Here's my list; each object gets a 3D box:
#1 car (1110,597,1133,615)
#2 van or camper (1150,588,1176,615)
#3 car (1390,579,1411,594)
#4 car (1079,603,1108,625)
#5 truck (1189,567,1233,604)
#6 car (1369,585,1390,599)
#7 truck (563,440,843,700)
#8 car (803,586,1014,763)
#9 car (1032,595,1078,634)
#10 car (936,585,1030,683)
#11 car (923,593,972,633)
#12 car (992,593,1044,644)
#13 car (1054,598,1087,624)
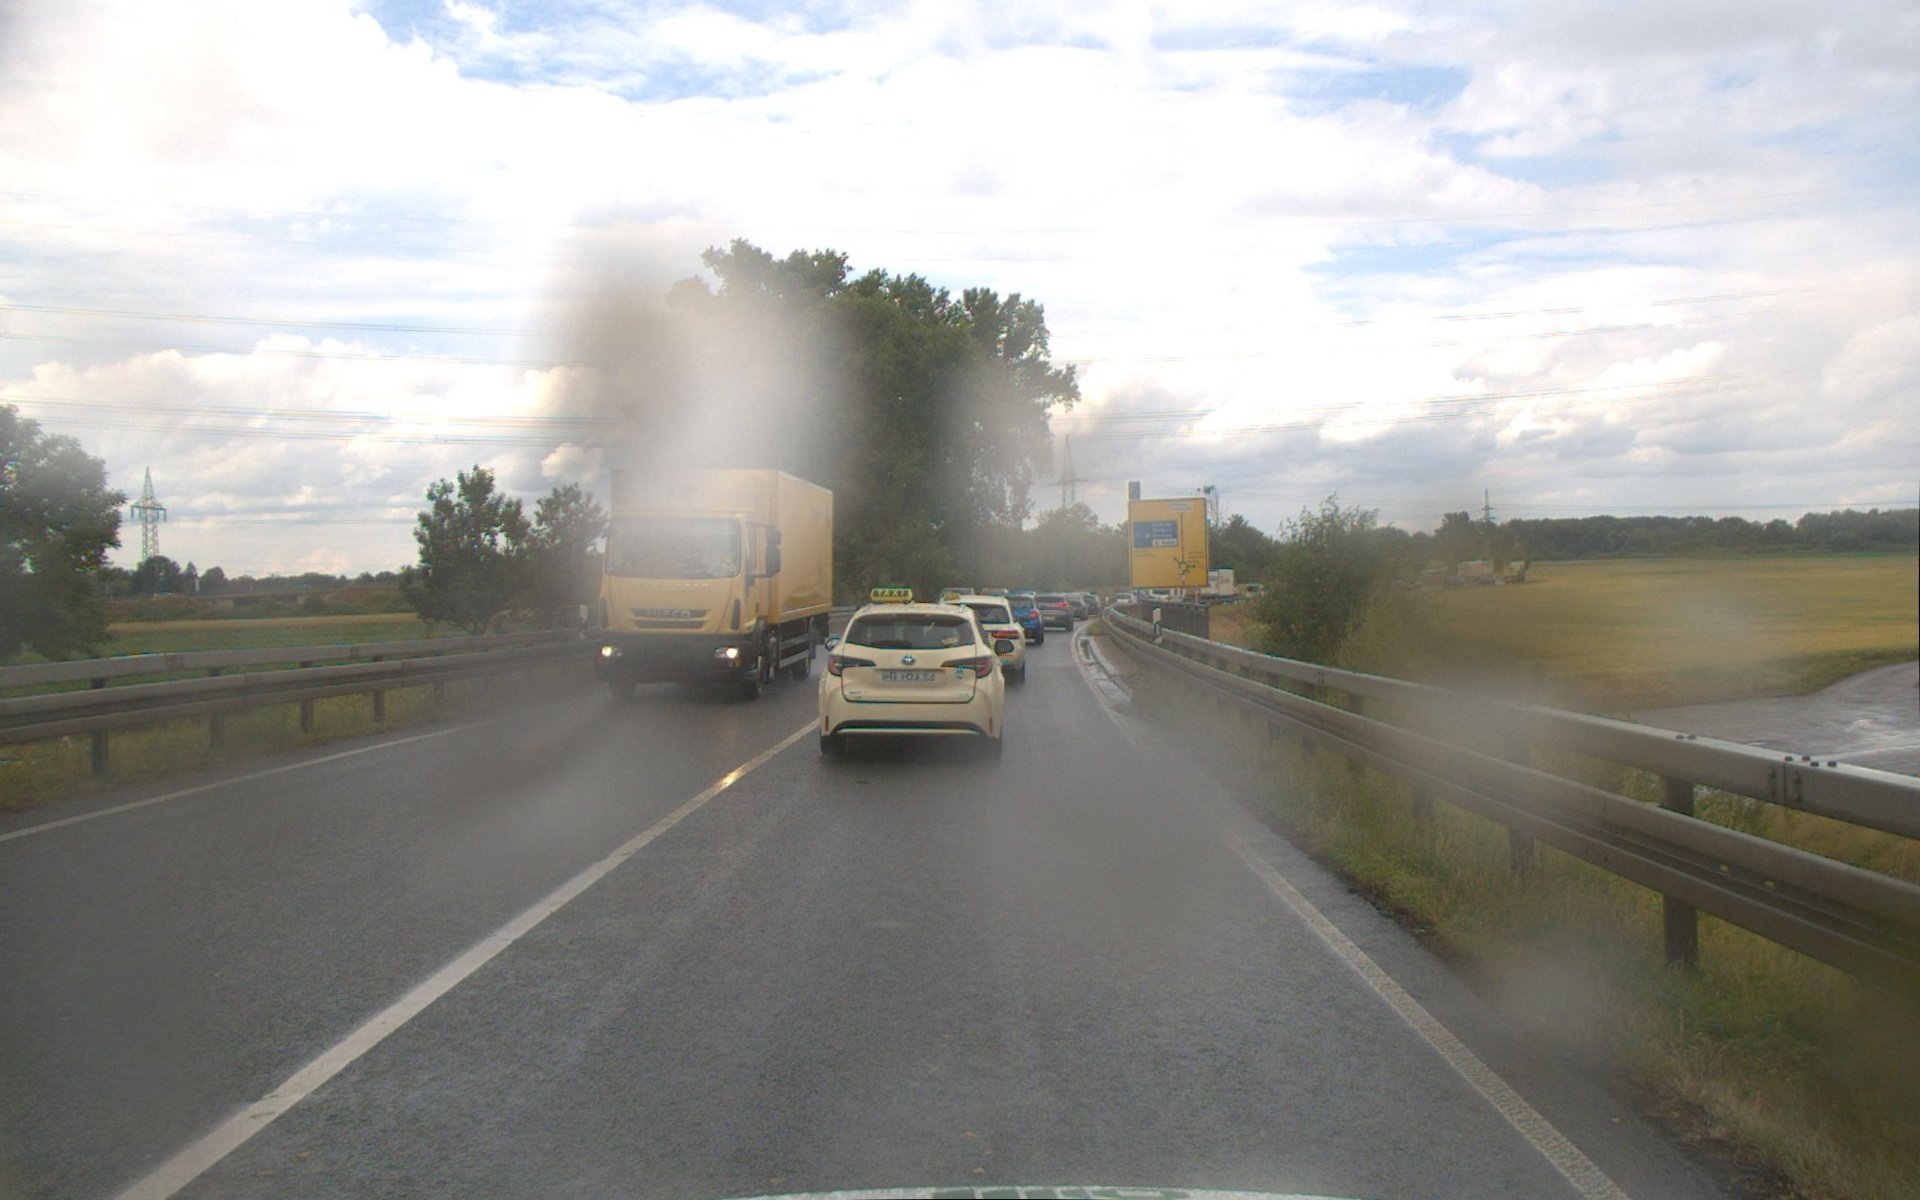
[{"bbox_3d":[12.129,0.451,124.157,1.451,1.332,3.480,0,0,10],"label":"car"},{"bbox_3d":[17.661,0.141,144.064,1.951,2.293,4.003,1,-1,11],"label":"van or camper"},{"bbox_3d":[63.552,-1.989,238.444,1.957,2.049,3.991,0,-1,31],"label":"car"},{"bbox_3d":[8.660,0.888,106.796,1.451,1.332,3.480,0,0,11],"label":"car"},{"bbox_3d":[25.740,-1.452,169.257,3.075,3.624,7.523,0,-1,20],"label":"truck"},{"bbox_3d":[58.844,-1.113,231.973,1.785,1.870,3.981,0,-1,30],"label":"car"},{"bbox_3d":[-3.828,-0.420,27.135,2.713,3.489,9.190,1,0,2],"label":"truck"},{"bbox_3d":[-0.391,0.662,16.825,1.866,1.564,4.162,0,0,2],"label":"car"},{"bbox_3d":[3.813,0.552,65.964,1.630,1.489,3.479,0,0,6],"label":"car"},{"bbox_3d":[0.461,0.559,29.182,1.545,1.600,3.682,0,0,2],"label":"car"},{"bbox_3d":[-0.518,0.537,73.797,1.709,1.682,4.528,0,1,5],"label":"car"},{"bbox_3d":[1.770,0.537,49.416,1.474,1.462,3.357,1,0,3],"label":"car"},{"bbox_3d":[6.279,0.638,93.788,1.625,1.434,3.907,0,-1,8],"label":"car"}]
